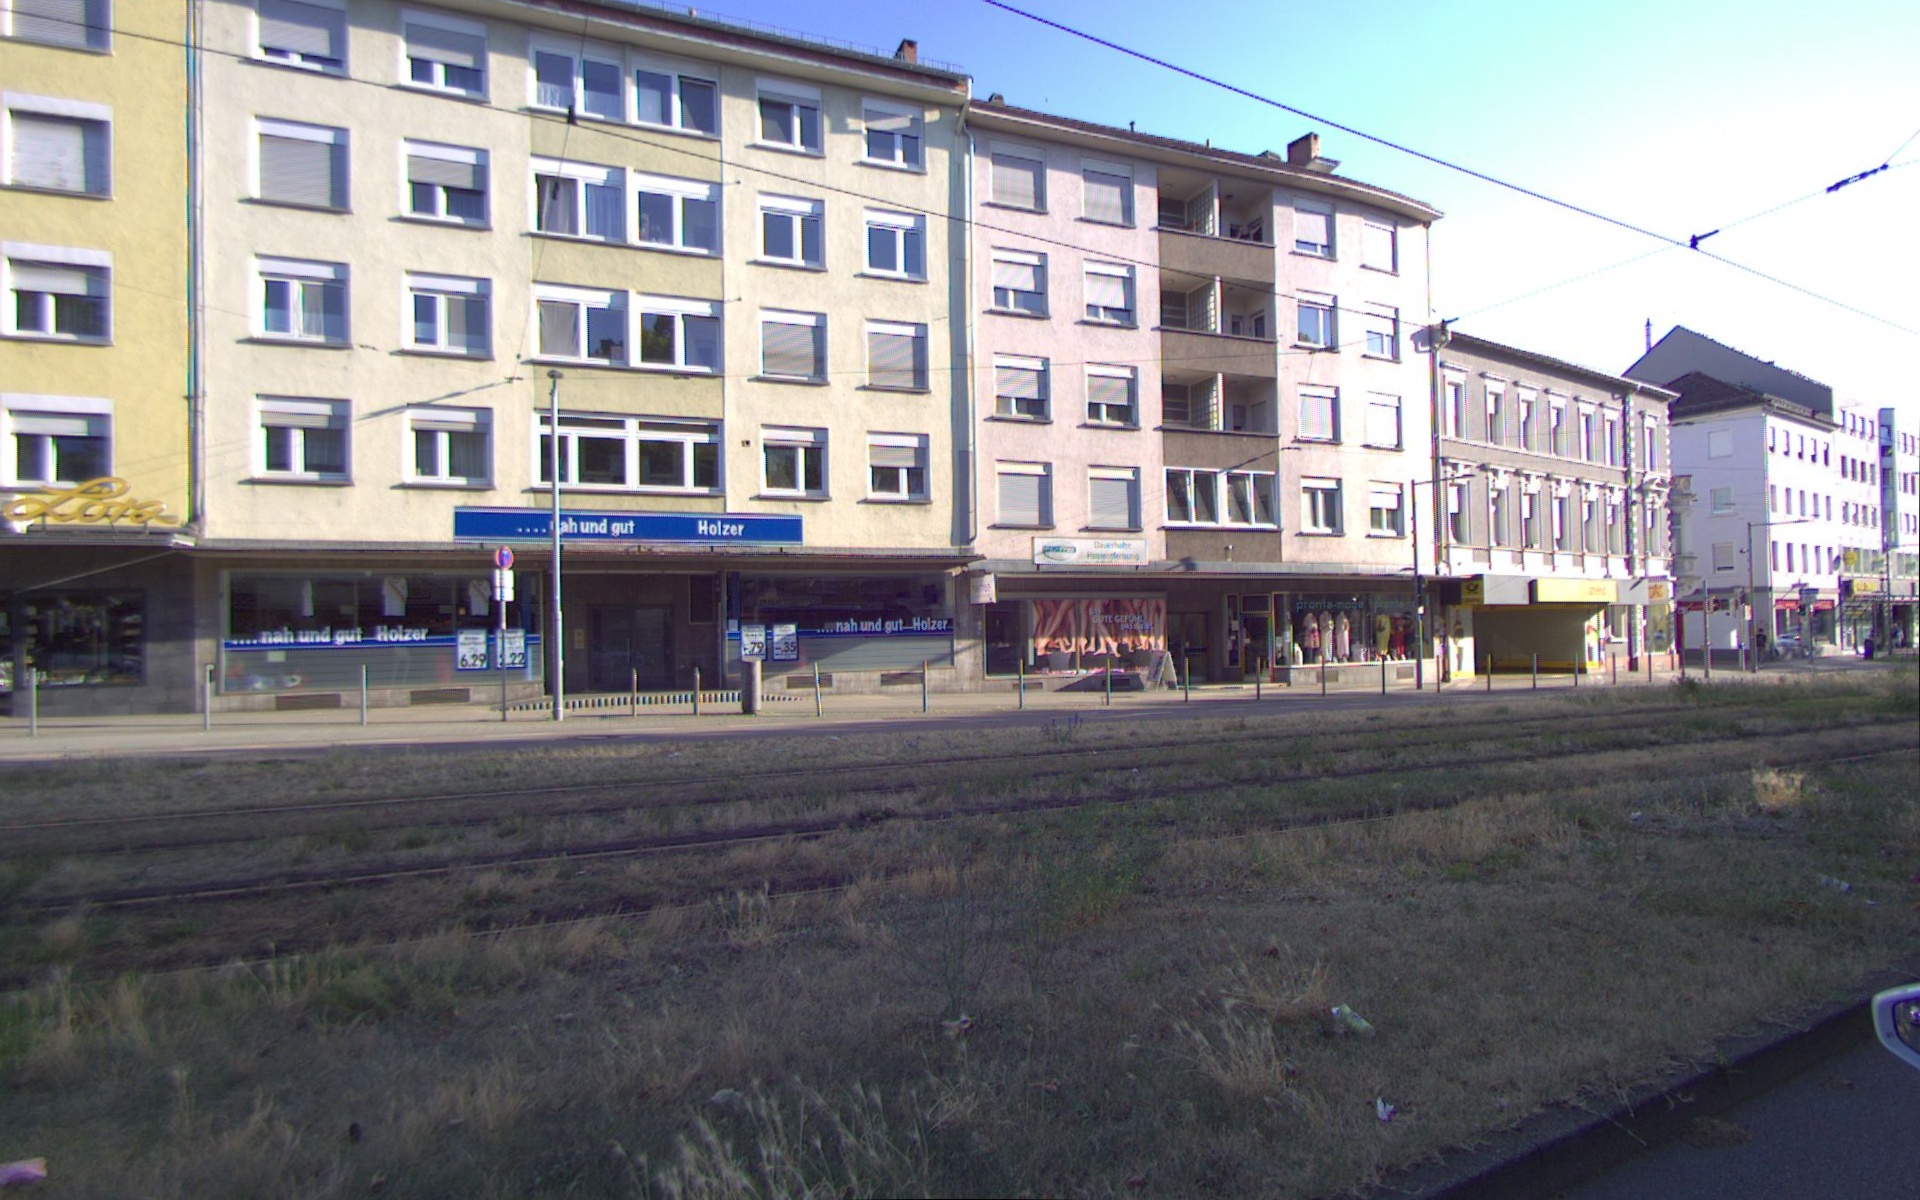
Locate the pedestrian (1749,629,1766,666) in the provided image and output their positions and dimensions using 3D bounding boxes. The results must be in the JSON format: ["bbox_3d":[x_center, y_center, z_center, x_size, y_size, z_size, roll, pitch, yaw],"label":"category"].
[{"bbox_3d":[37.793,2.234,47.605,0.501,1.736,0.424,1,-2,-26],"label":"pedestrian"}]

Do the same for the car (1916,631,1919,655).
[{"bbox_3d":[58.701,2.479,58.117,4.466,1.431,1.999,-1,-2,24],"label":"car"}]
